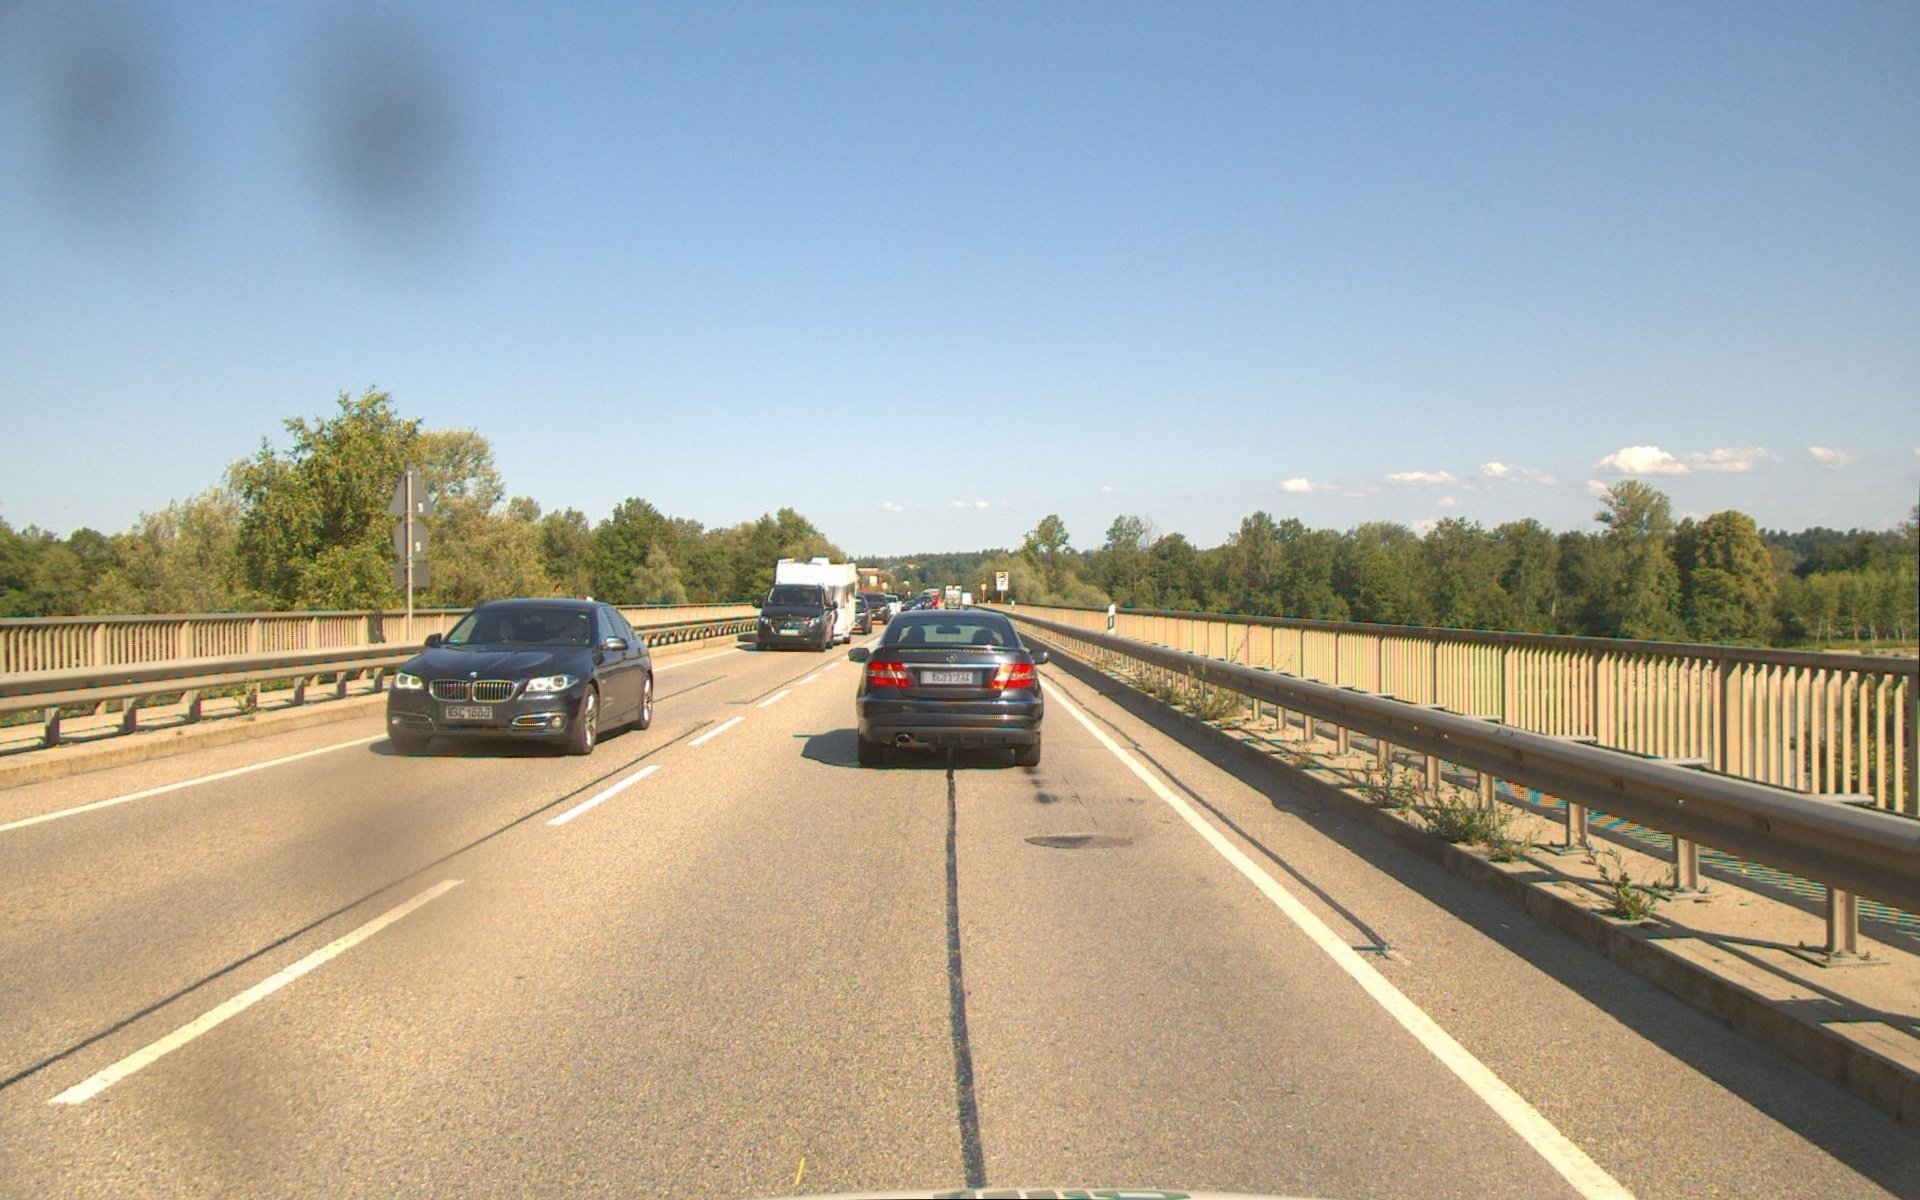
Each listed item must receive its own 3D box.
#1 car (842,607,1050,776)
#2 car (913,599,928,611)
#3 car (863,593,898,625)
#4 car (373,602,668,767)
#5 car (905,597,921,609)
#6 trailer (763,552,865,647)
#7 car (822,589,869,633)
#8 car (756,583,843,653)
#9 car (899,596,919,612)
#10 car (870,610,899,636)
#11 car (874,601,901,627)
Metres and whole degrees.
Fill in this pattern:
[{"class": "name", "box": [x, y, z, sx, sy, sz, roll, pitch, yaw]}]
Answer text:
[{"class": "car", "box": [-0.125, 0.786, 16.052, 1.757, 1.400, 4.000, 1, 0, 0]}, {"class": "car", "box": [-5.347, 0.706, 222.875, 1.770, 1.605, 4.198, 0, 0, -4]}, {"class": "car", "box": [-4.540, 0.507, 93.472, 1.910, 1.723, 4.473, 1, 0, -4]}, {"class": "car", "box": [-4.293, 0.748, 16.931, 1.750, 1.445, 4.651, 0, 0, 0]}, {"class": "car", "box": [-5.791, 0.353, 205.277, 1.829, 1.469, 4.453, 1, 0, -4]}, {"class": "trailer", "box": [-4.603, -0.015, 53.500, 2.503, 2.785, 8.062, 2, 0, 0]}, {"class": "car", "box": [-4.728, 0.423, 69.014, 1.766, 1.690, 4.431, 2, 0, -2]}, {"class": "car", "box": [-4.503, 0.488, 47.005, 1.942, 1.886, 5.008, 0, 0, 0]}, {"class": "car", "box": [-4.706, 0.350, 152.012, 1.730, 1.472, 4.453, 1, 0, -3]}, {"class": "car", "box": [-5.343, 1.590, 116.730, 1.944, 1.680, 4.595, 2, 0, -4]}, {"class": "car", "box": [-5.706, 1.094, 130.284, 1.997, 1.906, 5.066, 2, 0, -4]}]
